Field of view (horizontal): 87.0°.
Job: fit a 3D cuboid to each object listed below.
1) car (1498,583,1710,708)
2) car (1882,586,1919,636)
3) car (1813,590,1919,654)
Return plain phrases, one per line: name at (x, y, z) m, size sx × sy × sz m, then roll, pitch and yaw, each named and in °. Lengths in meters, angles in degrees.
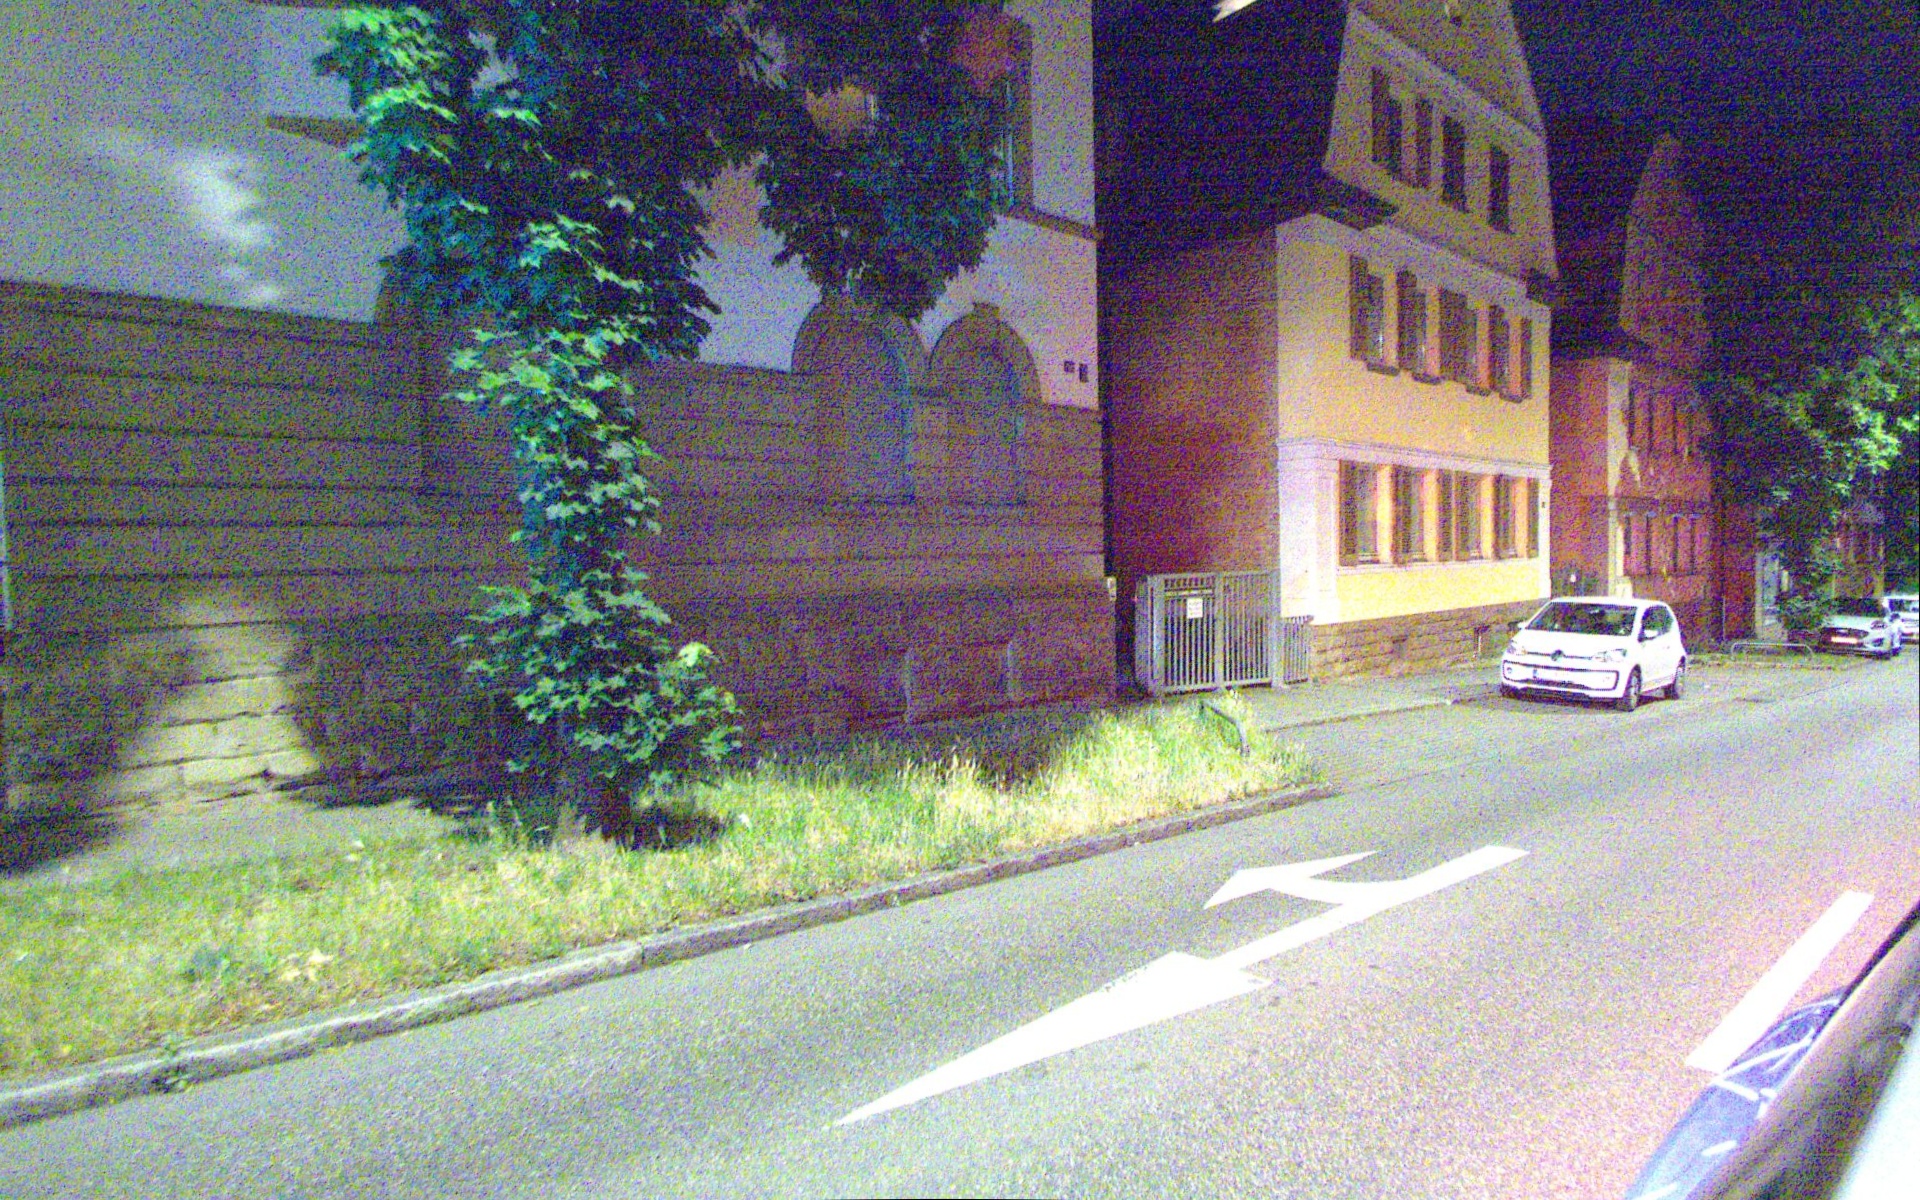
car at (9.265, 0.560, 14.482) m, size 3.425 × 1.527 × 1.610 m, roll 0°, pitch 2°, yaw -41°
car at (33.535, 0.369, 35.138) m, size 4.107 × 1.673 × 1.850 m, roll 0°, pitch 0°, yaw -42°
car at (23.611, 0.510, 26.281) m, size 3.824 × 1.516 × 1.740 m, roll 0°, pitch 2°, yaw -43°
